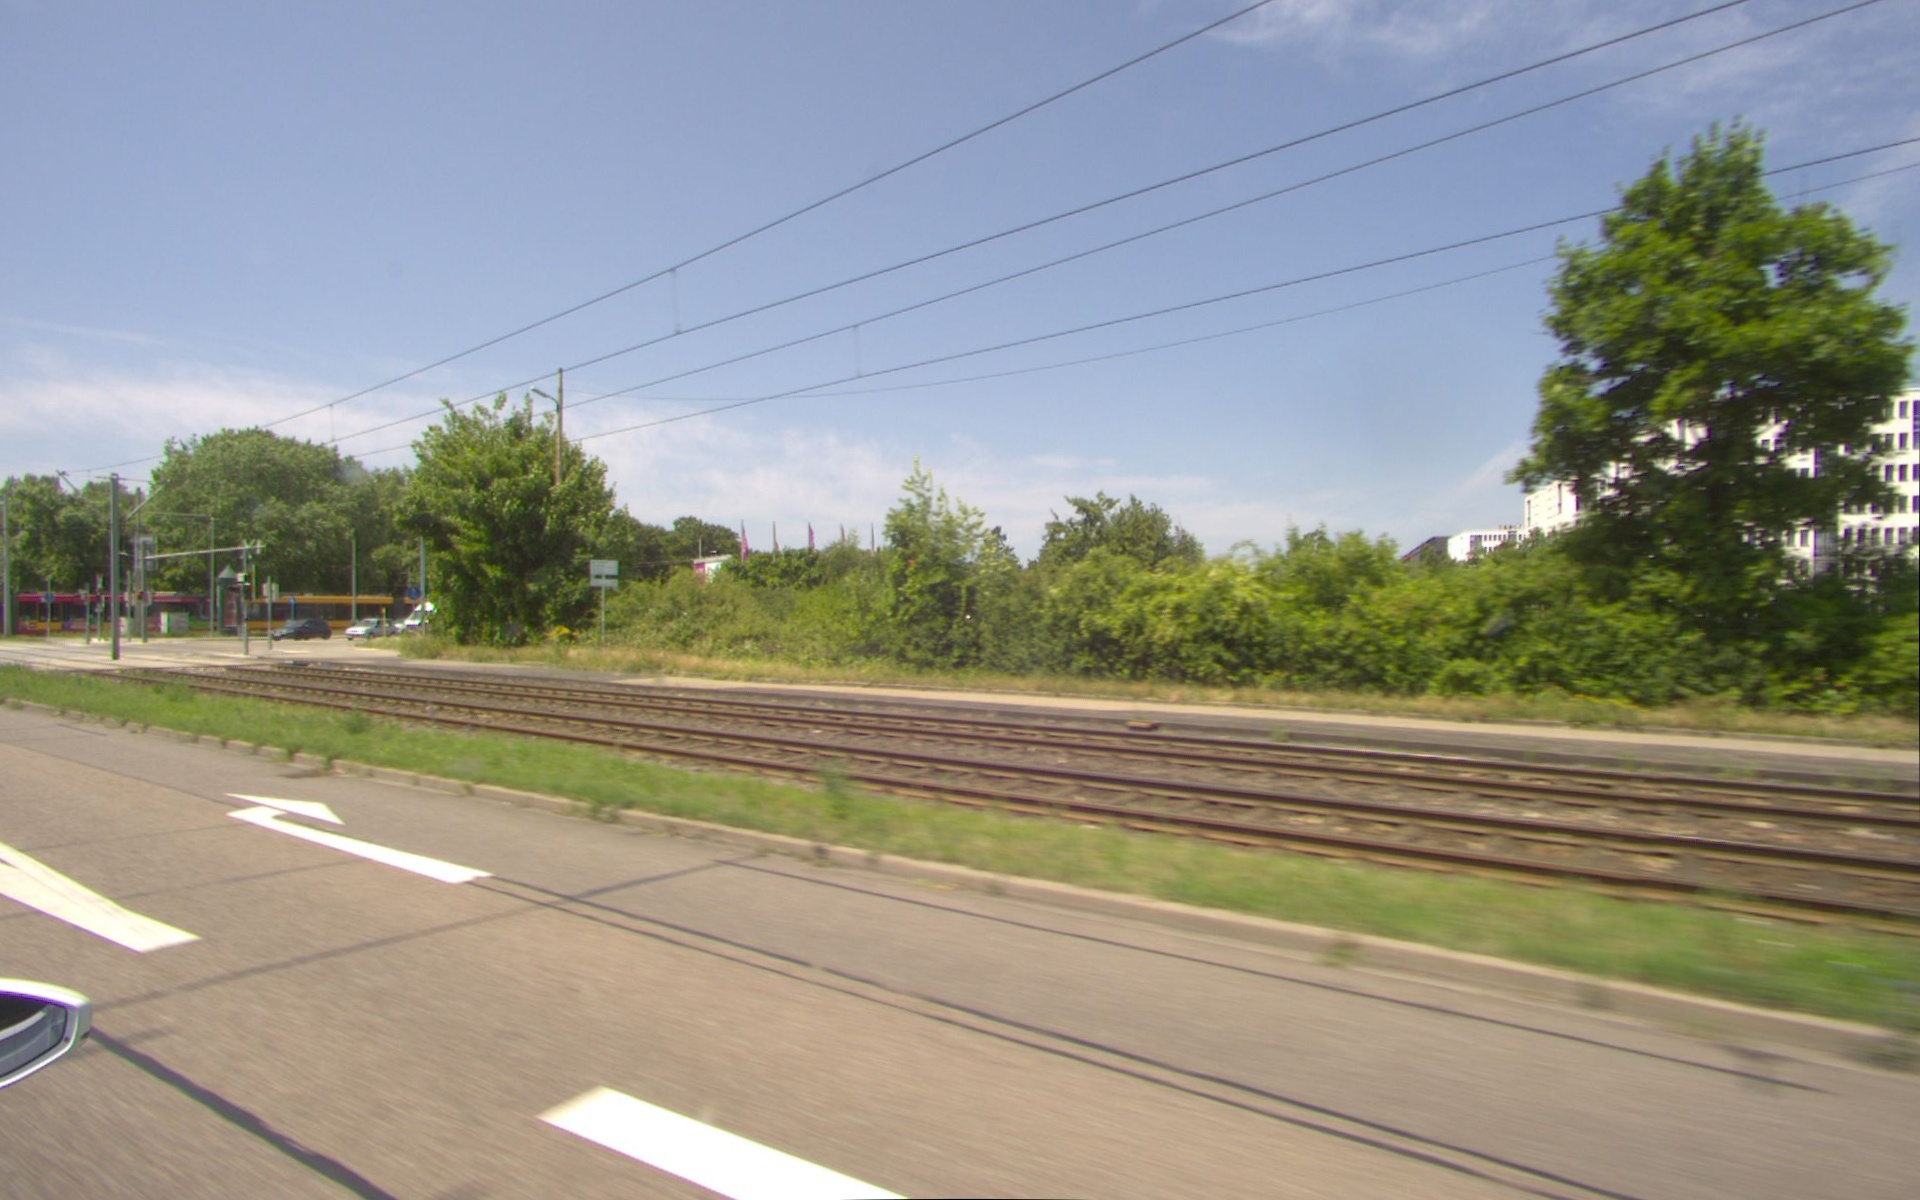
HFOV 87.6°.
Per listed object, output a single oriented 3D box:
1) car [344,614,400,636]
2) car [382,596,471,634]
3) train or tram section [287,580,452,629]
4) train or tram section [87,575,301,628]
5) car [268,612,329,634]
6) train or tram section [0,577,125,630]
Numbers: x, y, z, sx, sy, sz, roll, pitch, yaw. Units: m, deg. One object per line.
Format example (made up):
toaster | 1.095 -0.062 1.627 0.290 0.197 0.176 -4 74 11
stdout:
car | -41.716 1.749 71.118 1.608 1.482 3.807 0 -1 2
car | -42.000 1.176 79.127 2.664 2.839 7.284 0 -1 5
train or tram section | -54.520 0.595 93.203 2.879 3.966 13.917 -3 -4 27
train or tram section | -63.084 0.239 83.149 13.865 3.967 2.906 1 -4 -35
car | -45.365 1.549 68.743 1.608 1.482 3.508 0 0 5
train or tram section | -73.937 0.324 78.676 13.199 3.858 2.925 -1 -3 -8
